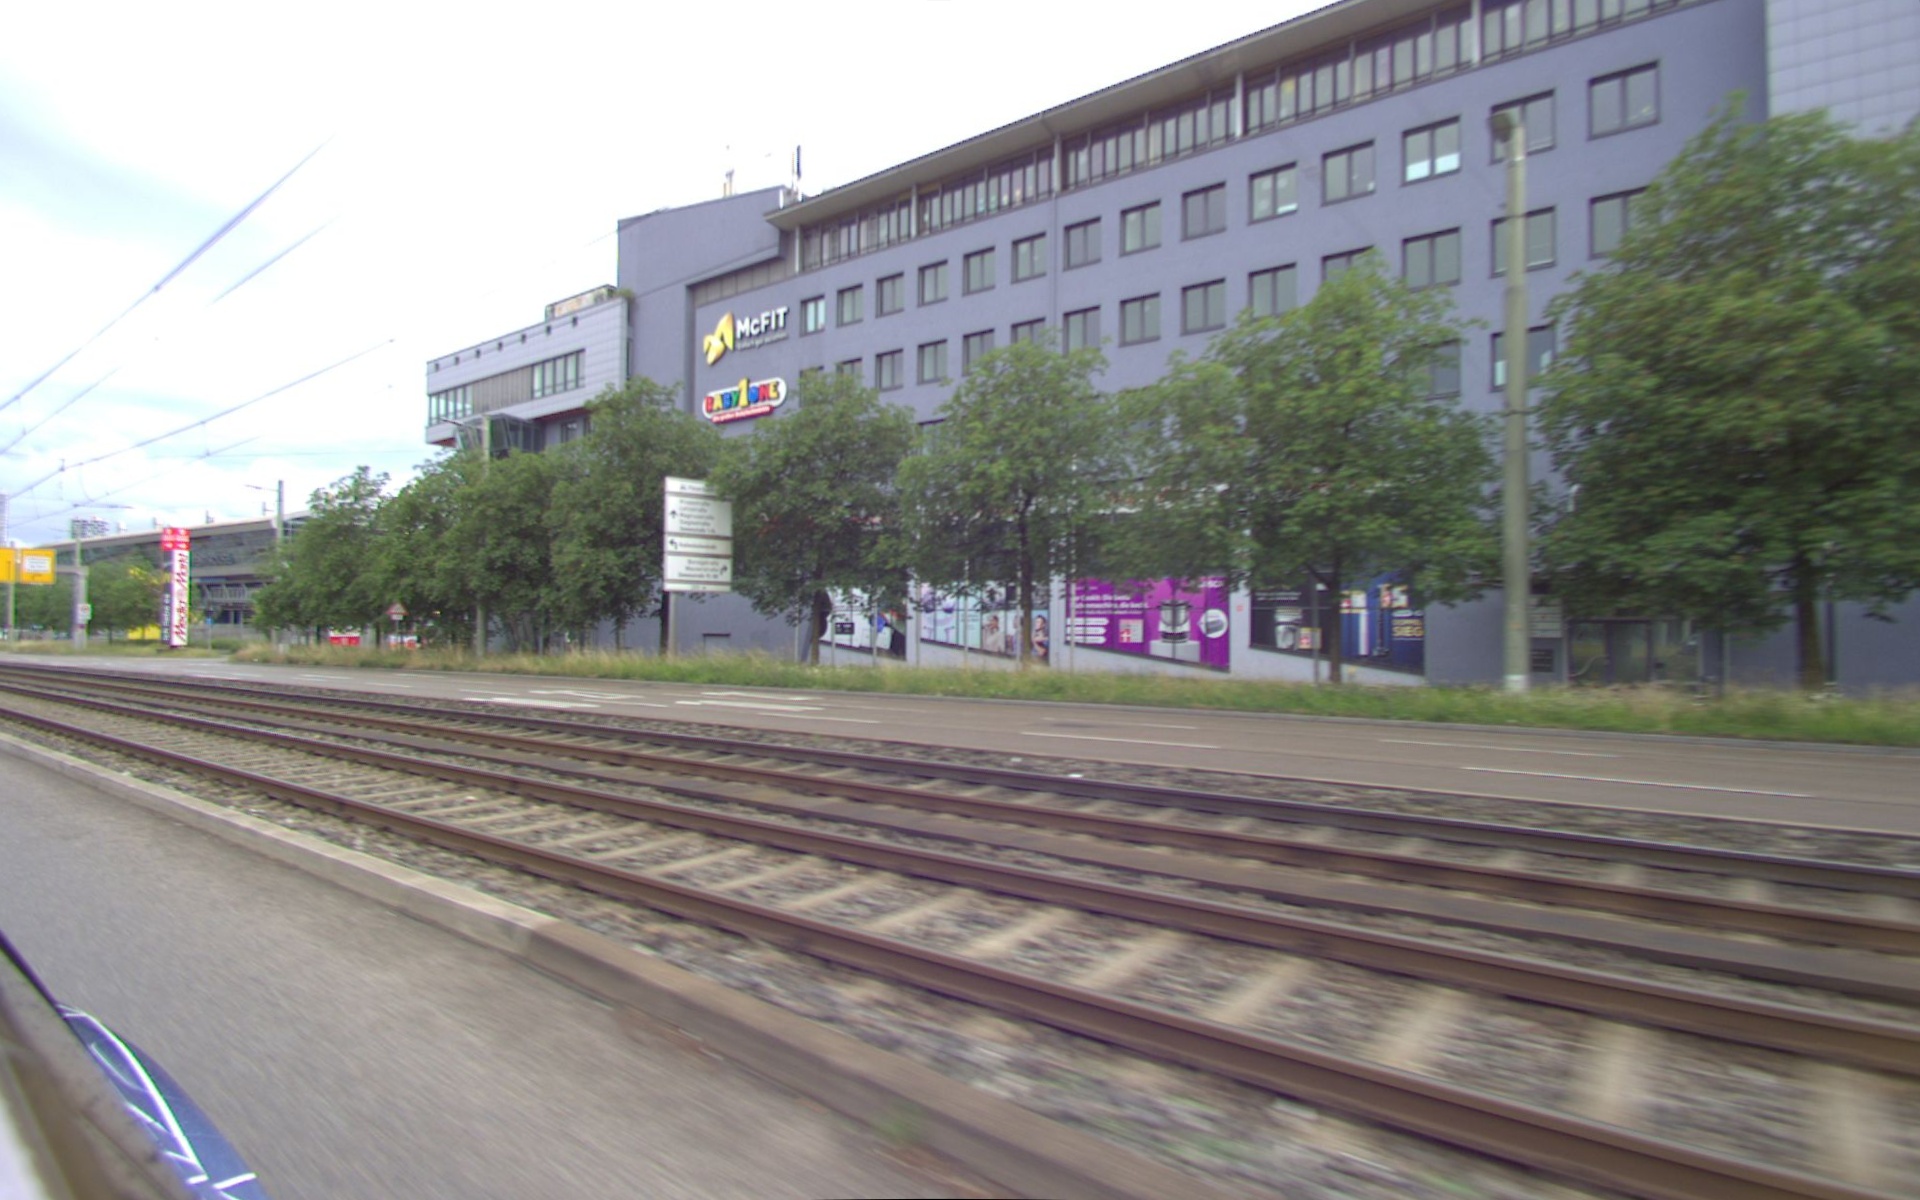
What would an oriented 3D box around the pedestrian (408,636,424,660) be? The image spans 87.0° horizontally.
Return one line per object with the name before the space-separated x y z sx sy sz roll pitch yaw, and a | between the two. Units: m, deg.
pedestrian | -39.481 3.474 73.470 0.578 1.692 0.802 -2 -3 27
